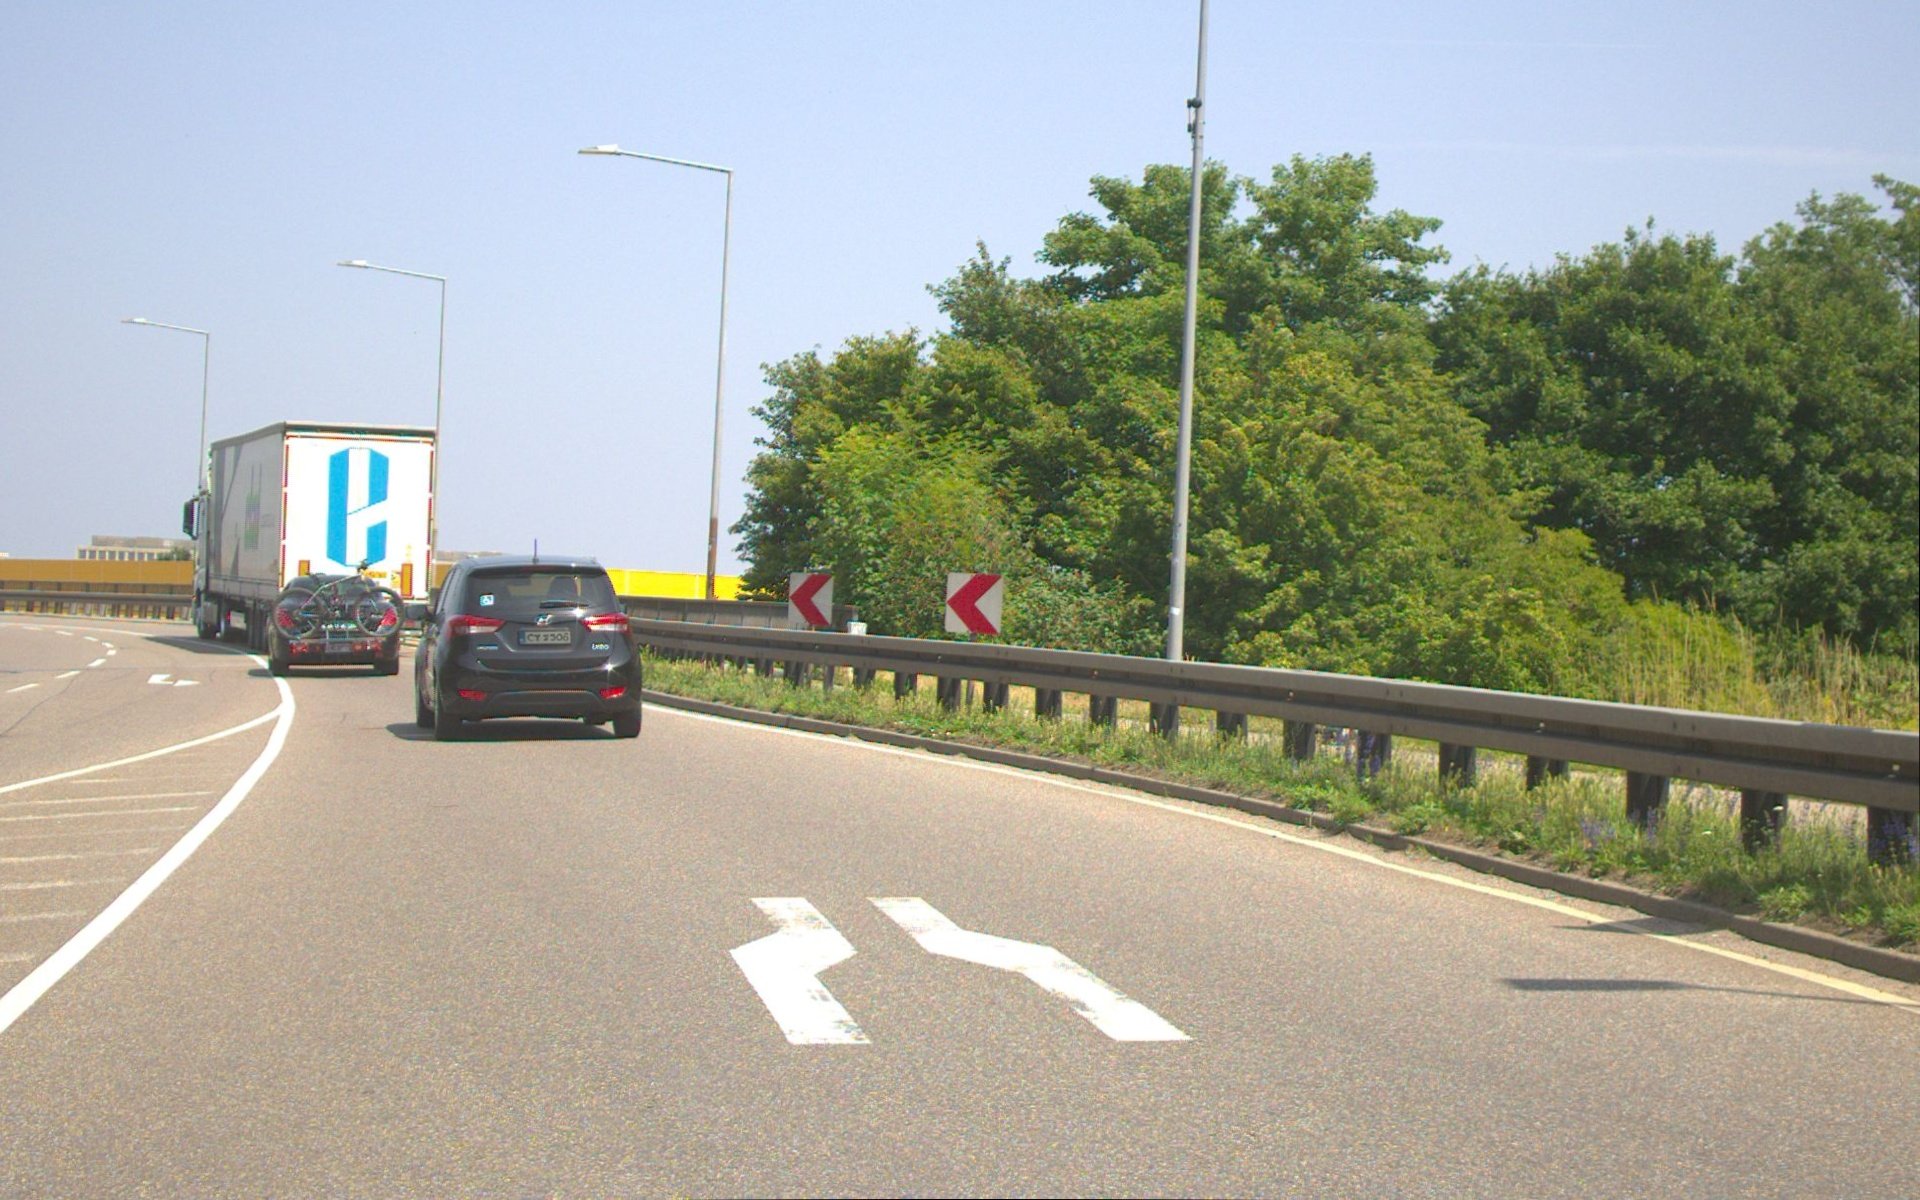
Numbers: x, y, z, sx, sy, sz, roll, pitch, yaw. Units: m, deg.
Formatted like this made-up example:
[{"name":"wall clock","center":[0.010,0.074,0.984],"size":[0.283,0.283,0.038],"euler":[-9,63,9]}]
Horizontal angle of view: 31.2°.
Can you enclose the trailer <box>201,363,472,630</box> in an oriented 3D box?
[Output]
[{"name":"trailer","center":[-11.726,-1.813,63.598],"size":[3.568,4.369,11.444],"euler":[2,0,-16]}]

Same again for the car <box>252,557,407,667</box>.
[{"name":"car","center":[-8.920,0.143,48.424],"size":[2.011,1.424,3.778],"euler":[2,0,-12]}]

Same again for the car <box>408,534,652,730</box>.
[{"name":"car","center":[-3.891,0.249,30.611],"size":[1.921,1.568,3.892],"euler":[2,0,-10]}]

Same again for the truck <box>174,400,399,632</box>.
[{"name":"truck","center":[-13.988,-1.695,70.968],"size":[3.571,4.426,6.517],"euler":[2,0,-19]}]
